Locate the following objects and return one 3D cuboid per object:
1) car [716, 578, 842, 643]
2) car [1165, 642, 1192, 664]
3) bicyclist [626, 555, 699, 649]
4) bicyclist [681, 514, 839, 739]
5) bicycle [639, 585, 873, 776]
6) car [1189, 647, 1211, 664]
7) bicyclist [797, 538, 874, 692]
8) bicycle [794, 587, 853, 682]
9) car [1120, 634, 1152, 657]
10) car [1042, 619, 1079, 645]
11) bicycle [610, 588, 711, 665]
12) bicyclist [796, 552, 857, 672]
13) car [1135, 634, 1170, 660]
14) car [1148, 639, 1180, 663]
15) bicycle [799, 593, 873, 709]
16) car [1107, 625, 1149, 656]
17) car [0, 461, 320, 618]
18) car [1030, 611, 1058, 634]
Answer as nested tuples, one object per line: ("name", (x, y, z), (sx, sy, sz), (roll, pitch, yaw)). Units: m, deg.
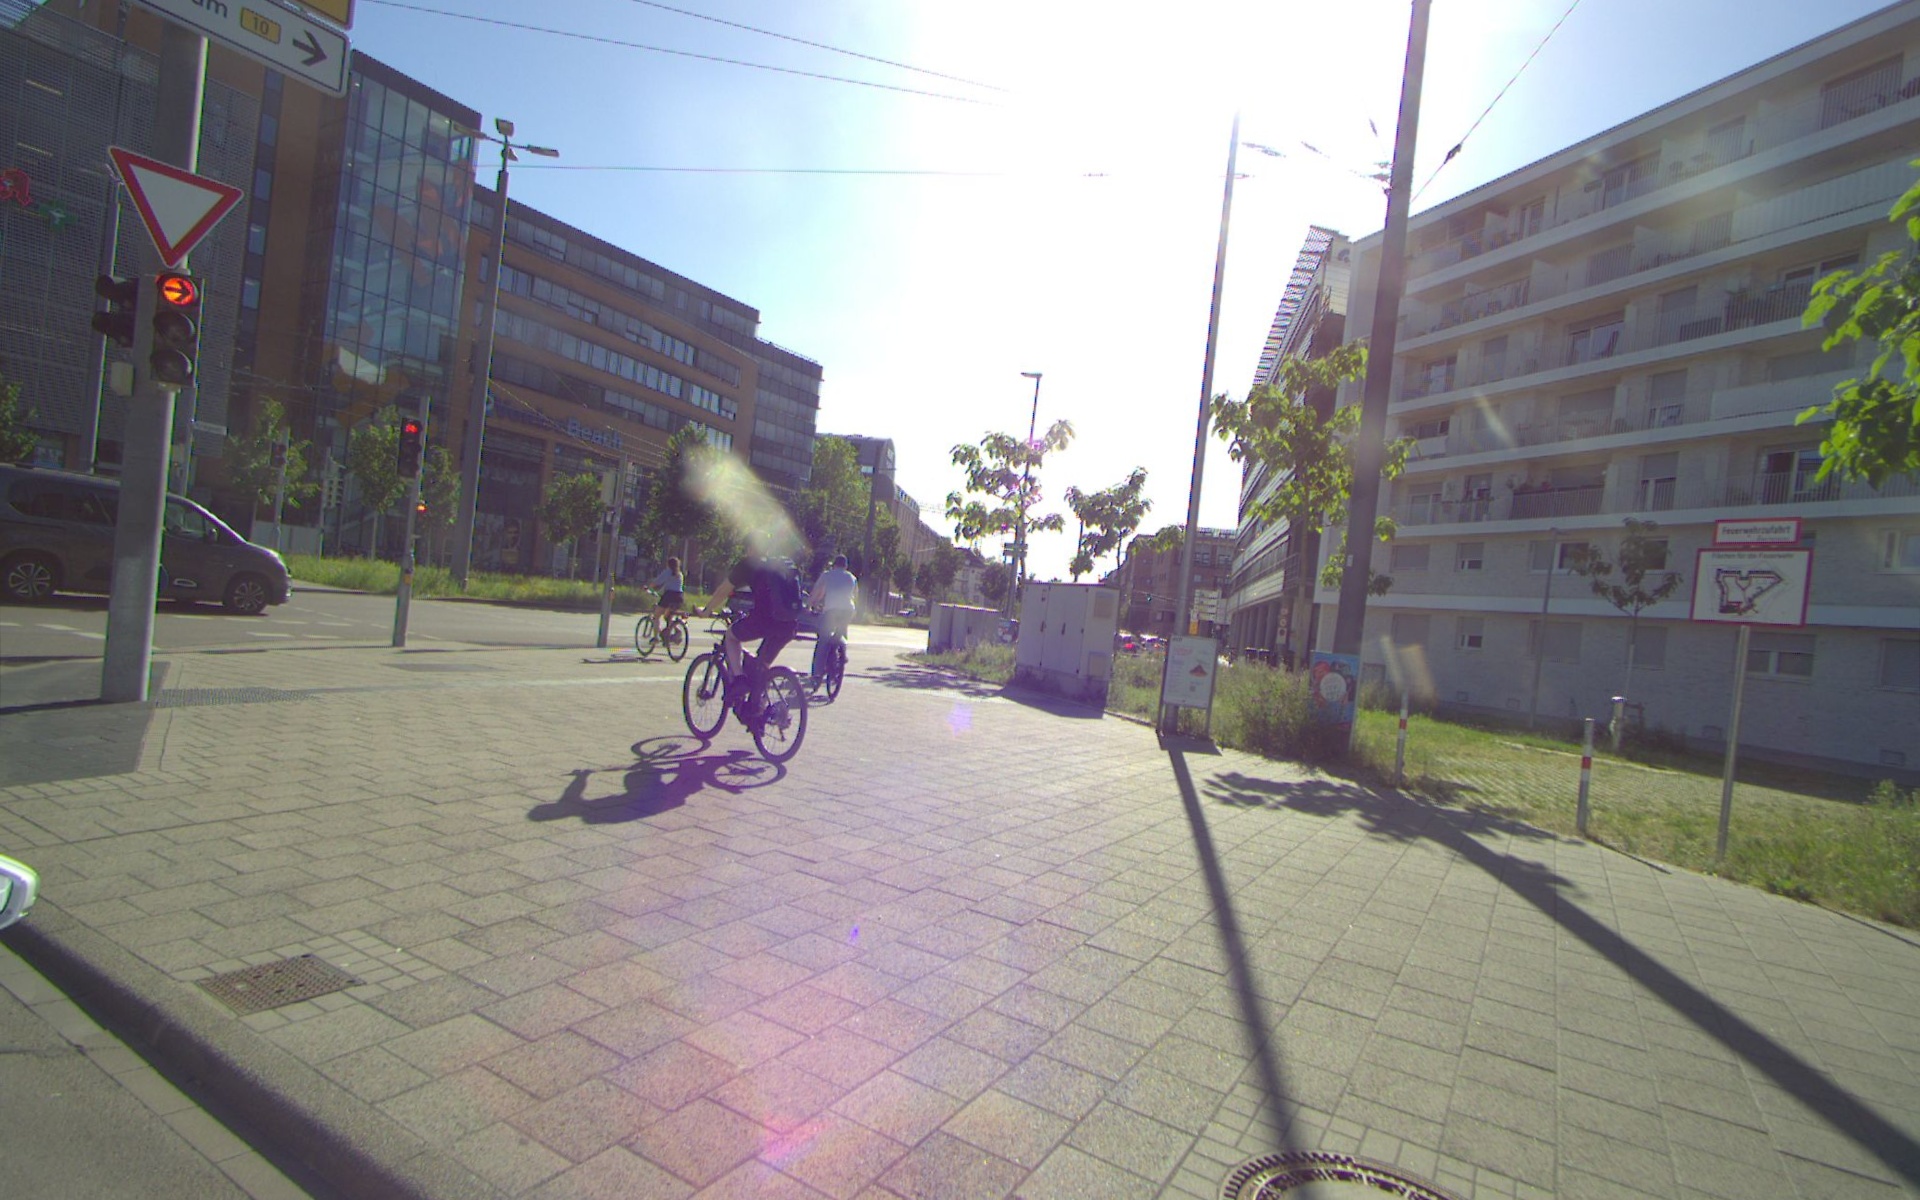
("car", (-5.485, 0.387, 31.066), (1.678, 1.531, 4.279), (7, -2, 22))
("car", (18.830, 4.575, 86.518), (1.677, 1.515, 4.281), (7, -2, 19))
("bicyclist", (-4.876, 0.027, 16.480), (0.928, 1.453, 0.665), (4, -1, 42))
("bicyclist", (-1.591, 0.199, 7.957), (0.958, 1.649, 0.628), (7, 0, 44))
("bicycle", (-1.683, 0.583, 8.019), (2.126, 1.212, 0.634), (6, 0, 44))
("car", (25.534, 5.897, 106.997), (1.677, 1.515, 4.281), (7, -2, 19))
("bicyclist", (-1.628, 0.202, 13.207), (0.796, 1.888, 0.749), (6, 0, -7))
("bicycle", (-2.189, 0.512, 15.981), (0.704, 1.344, 1.744), (6, 1, -11))
("car", (13.904, 3.626, 79.488), (1.677, 1.515, 4.281), (7, -2, 19))
("car", (7.900, 2.533, 78.842), (1.901, 1.728, 4.686), (7, 0, 16))
("bicycle", (-4.939, 0.416, 16.525), (1.796, 1.085, 0.666), (5, -2, 42))
("bicyclist", (-2.107, 0.172, 15.775), (0.705, 1.748, 1.091), (6, 2, -12))
("car", (13.646, 3.356, 70.989), (1.677, 1.515, 4.281), (7, -2, 19))
("car", (15.716, 3.950, 77.412), (1.677, 1.515, 4.281), (7, -2, 19))
("bicycle", (-1.654, 0.625, 13.143), (0.746, 1.316, 2.151), (6, -1, -9))
("car", (10.400, 2.521, 61.946), (1.675, 1.591, 4.874), (7, -1, 18))
("car", (-12.330, -0.837, 14.934), (1.678, 1.813, 4.472), (7, -1, 24))
("car", (7.294, 1.991, 87.206), (1.615, 1.665, 3.704), (7, -1, 15))
